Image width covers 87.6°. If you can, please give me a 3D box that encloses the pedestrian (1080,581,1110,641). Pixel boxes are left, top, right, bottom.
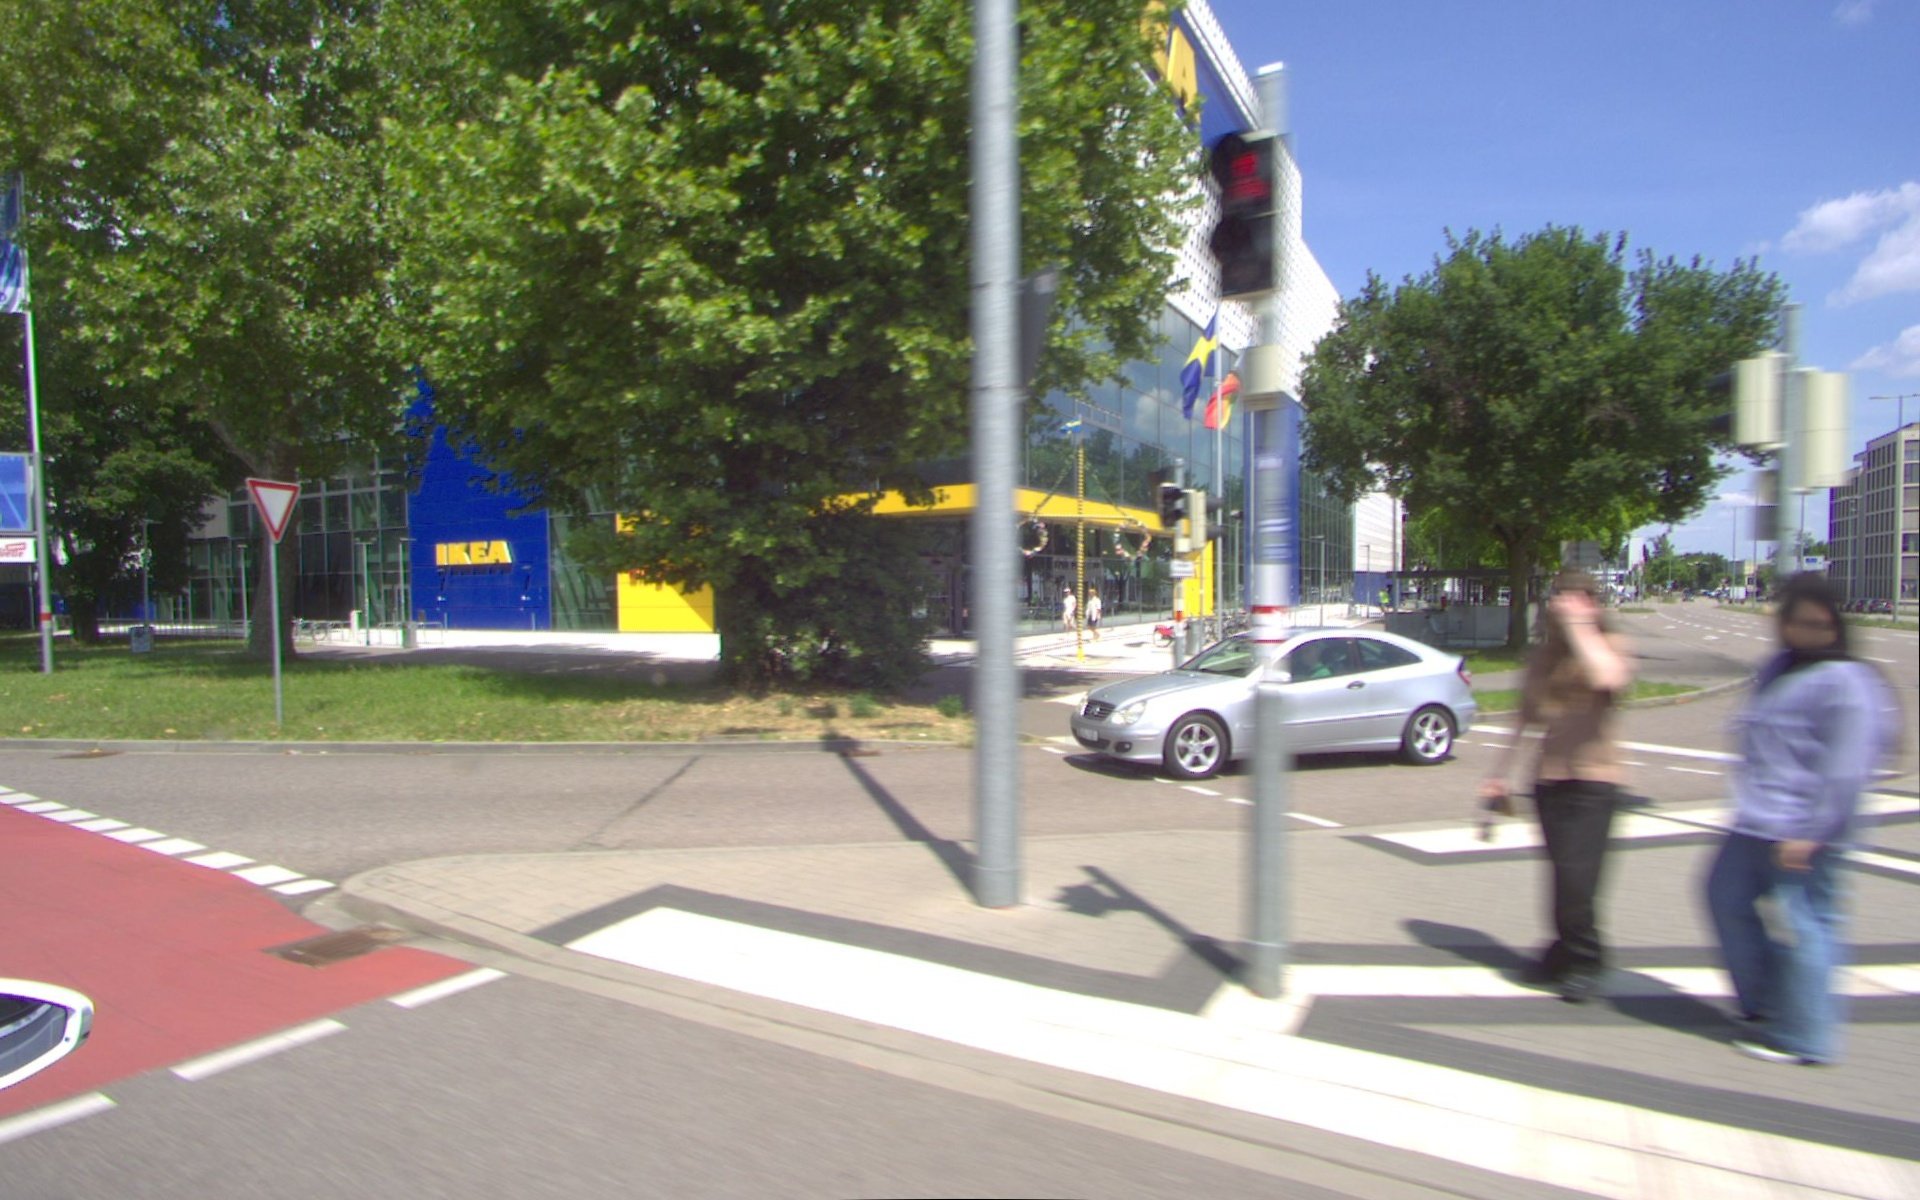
[{"bbox_3d":[4.651,0.371,34.399,0.724,2.040,0.794,0,1,38],"label":"pedestrian"}]

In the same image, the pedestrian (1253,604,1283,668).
[{"bbox_3d":[7.989,0.914,25.963,0.623,1.607,0.917,0,1,25],"label":"pedestrian"}]

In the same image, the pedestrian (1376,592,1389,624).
[{"bbox_3d":[21.357,0.390,50.618,0.570,1.607,0.766,0,1,25],"label":"pedestrian"}]

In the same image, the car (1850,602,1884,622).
[{"bbox_3d":[97.134,1.301,107.234,1.971,2.040,3.980,-1,-1,32],"label":"car"}]

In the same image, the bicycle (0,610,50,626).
[{"bbox_3d":[-60.557,1.151,64.664,0.746,0.983,2.545,0,0,25],"label":"bicycle"}]

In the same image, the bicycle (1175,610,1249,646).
[{"bbox_3d":[8.584,0.943,34.128,2.389,1.215,0.801,0,0,17],"label":"bicycle"}]

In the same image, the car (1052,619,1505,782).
[{"bbox_3d":[3.254,0.938,10.398,4.244,1.436,1.730,0,-1,-16],"label":"car"}]

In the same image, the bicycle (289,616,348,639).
[{"bbox_3d":[-28.266,1.199,44.163,0.855,0.982,2.059,0,0,26],"label":"bicycle"}]

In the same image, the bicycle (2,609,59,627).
[{"bbox_3d":[-59.449,1.127,64.081,0.746,1.125,2.545,0,0,25],"label":"bicycle"}]

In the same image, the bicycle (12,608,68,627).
[{"bbox_3d":[-58.313,1.102,63.506,0.746,1.125,2.545,0,0,25],"label":"bicycle"}]

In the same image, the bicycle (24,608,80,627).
[{"bbox_3d":[-57.273,1.086,63.187,0.746,1.125,2.545,0,0,25],"label":"bicycle"}]

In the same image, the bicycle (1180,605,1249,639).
[{"bbox_3d":[9.266,0.804,36.469,2.389,1.215,0.801,0,0,17],"label":"bicycle"}]

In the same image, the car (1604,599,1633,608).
[{"bbox_3d":[112.013,0.611,170.386,3.623,1.633,1.800,0,0,7],"label":"car"}]

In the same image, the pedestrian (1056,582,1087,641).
[{"bbox_3d":[3.895,0.392,34.952,0.725,2.040,0.793,0,1,42],"label":"pedestrian"}]

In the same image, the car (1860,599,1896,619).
[{"bbox_3d":[94.526,0.929,103.110,1.971,2.040,3.980,-1,-1,32],"label":"car"}]

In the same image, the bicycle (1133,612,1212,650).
[{"bbox_3d":[6.781,0.981,31.949,2.389,1.160,0.801,0,0,17],"label":"bicycle"}]

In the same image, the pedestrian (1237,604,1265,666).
[{"bbox_3d":[7.641,0.907,26.296,0.623,1.607,0.609,0,1,25],"label":"pedestrian"}]

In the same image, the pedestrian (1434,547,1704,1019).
[{"bbox_3d":[2.435,0.665,4.037,0.714,1.705,0.623,0,0,-21],"label":"pedestrian"}]

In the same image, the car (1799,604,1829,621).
[{"bbox_3d":[86.980,1.260,102.007,1.736,1.633,3.531,-1,-1,32],"label":"car"}]

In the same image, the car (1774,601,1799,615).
[{"bbox_3d":[94.676,0.948,114.757,1.736,1.633,3.531,-1,-1,32],"label":"car"}]

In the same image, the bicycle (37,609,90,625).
[{"bbox_3d":[-55.505,1.041,62.039,0.746,0.973,2.315,0,0,25],"label":"bicycle"}]

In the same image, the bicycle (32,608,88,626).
[{"bbox_3d":[-56.351,1.066,62.732,0.746,1.125,2.545,0,0,25],"label":"bicycle"}]

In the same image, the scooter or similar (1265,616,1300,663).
[{"bbox_3d":[8.627,1.044,26.789,0.717,1.214,1.072,0,0,29],"label":"scooter or similar"}]

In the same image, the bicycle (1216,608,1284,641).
[{"bbox_3d":[10.810,0.904,37.351,2.389,1.215,0.801,0,0,17],"label":"bicycle"}]

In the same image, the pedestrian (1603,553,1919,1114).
[{"bbox_3d":[2.871,0.684,3.406,0.881,1.627,0.766,0,0,-18],"label":"pedestrian"}]
